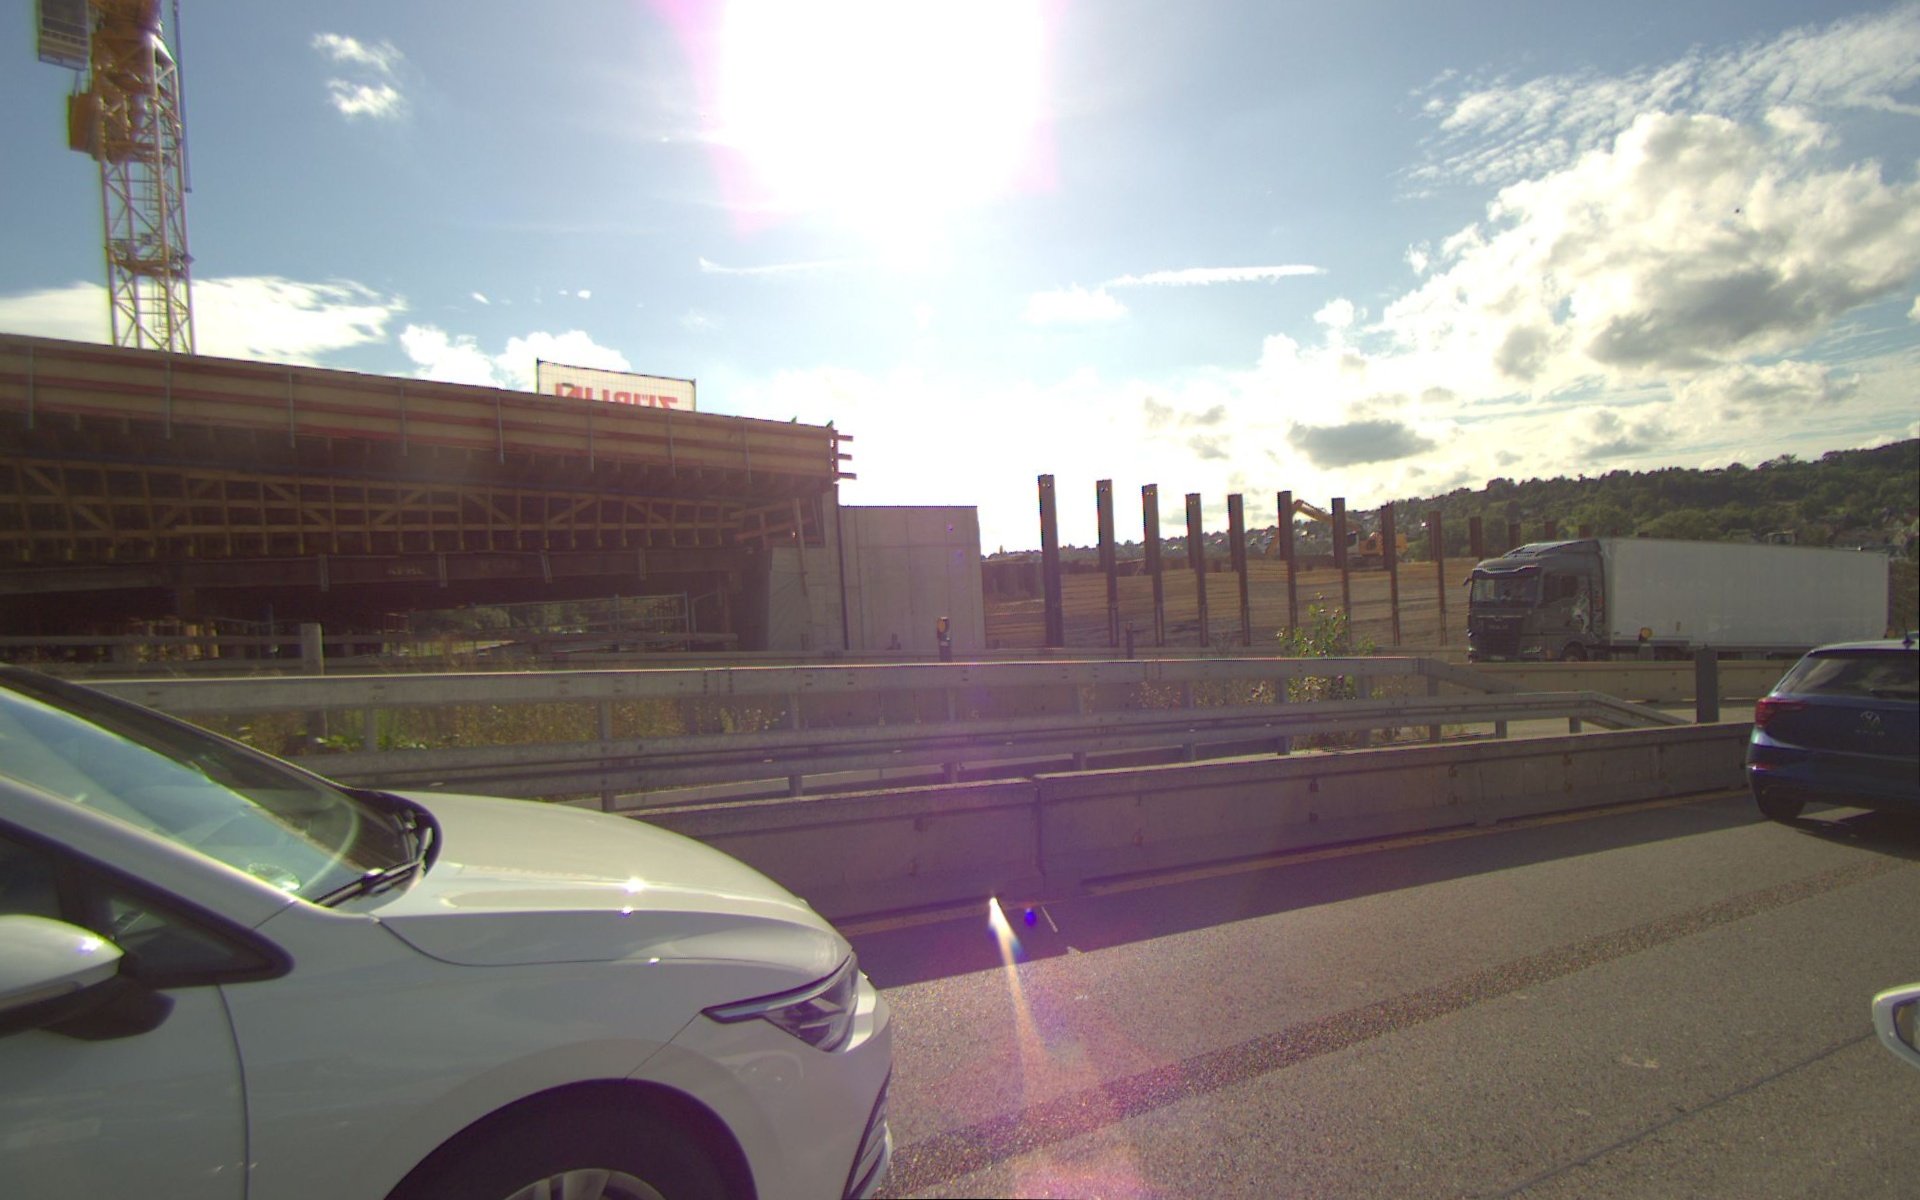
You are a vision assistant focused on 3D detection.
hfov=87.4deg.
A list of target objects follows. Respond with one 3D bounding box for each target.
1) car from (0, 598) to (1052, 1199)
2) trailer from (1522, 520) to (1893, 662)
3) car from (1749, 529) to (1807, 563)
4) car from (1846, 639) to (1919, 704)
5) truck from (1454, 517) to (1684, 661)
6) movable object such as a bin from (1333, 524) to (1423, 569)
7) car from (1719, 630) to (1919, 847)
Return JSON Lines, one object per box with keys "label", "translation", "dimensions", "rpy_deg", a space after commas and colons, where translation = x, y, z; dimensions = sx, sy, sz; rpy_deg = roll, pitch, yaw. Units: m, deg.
{"label": "car", "translation": [-2.150, 0.767, 1.732], "dimensions": [4.466, 1.510, 1.761], "rpy_deg": [2, -3, -32]}
{"label": "trailer", "translation": [24.100, -0.069, 32.077], "dimensions": [13.602, 3.892, 2.816], "rpy_deg": [2, -1, -22]}
{"label": "car", "translation": [65.875, -4.299, 80.861], "dimensions": [5.264, 2.167, 1.984], "rpy_deg": [2, -6, -33]}
{"label": "car", "translation": [28.385, 2.086, 29.512], "dimensions": [4.064, 1.749, 1.989], "rpy_deg": [2, -1, -23]}
{"label": "truck", "translation": [17.872, -0.216, 29.507], "dimensions": [5.930, 3.838, 2.772], "rpy_deg": [2, -1, -22]}
{"label": "movable object such as a bin", "translation": [35.876, -4.519, 86.440], "dimensions": [4.442, 3.313, 5.739], "rpy_deg": [2, -1, -20]}
{"label": "car", "translation": [7.979, 1.026, 7.971], "dimensions": [3.953, 1.440, 1.714], "rpy_deg": [3, -3, -30]}
